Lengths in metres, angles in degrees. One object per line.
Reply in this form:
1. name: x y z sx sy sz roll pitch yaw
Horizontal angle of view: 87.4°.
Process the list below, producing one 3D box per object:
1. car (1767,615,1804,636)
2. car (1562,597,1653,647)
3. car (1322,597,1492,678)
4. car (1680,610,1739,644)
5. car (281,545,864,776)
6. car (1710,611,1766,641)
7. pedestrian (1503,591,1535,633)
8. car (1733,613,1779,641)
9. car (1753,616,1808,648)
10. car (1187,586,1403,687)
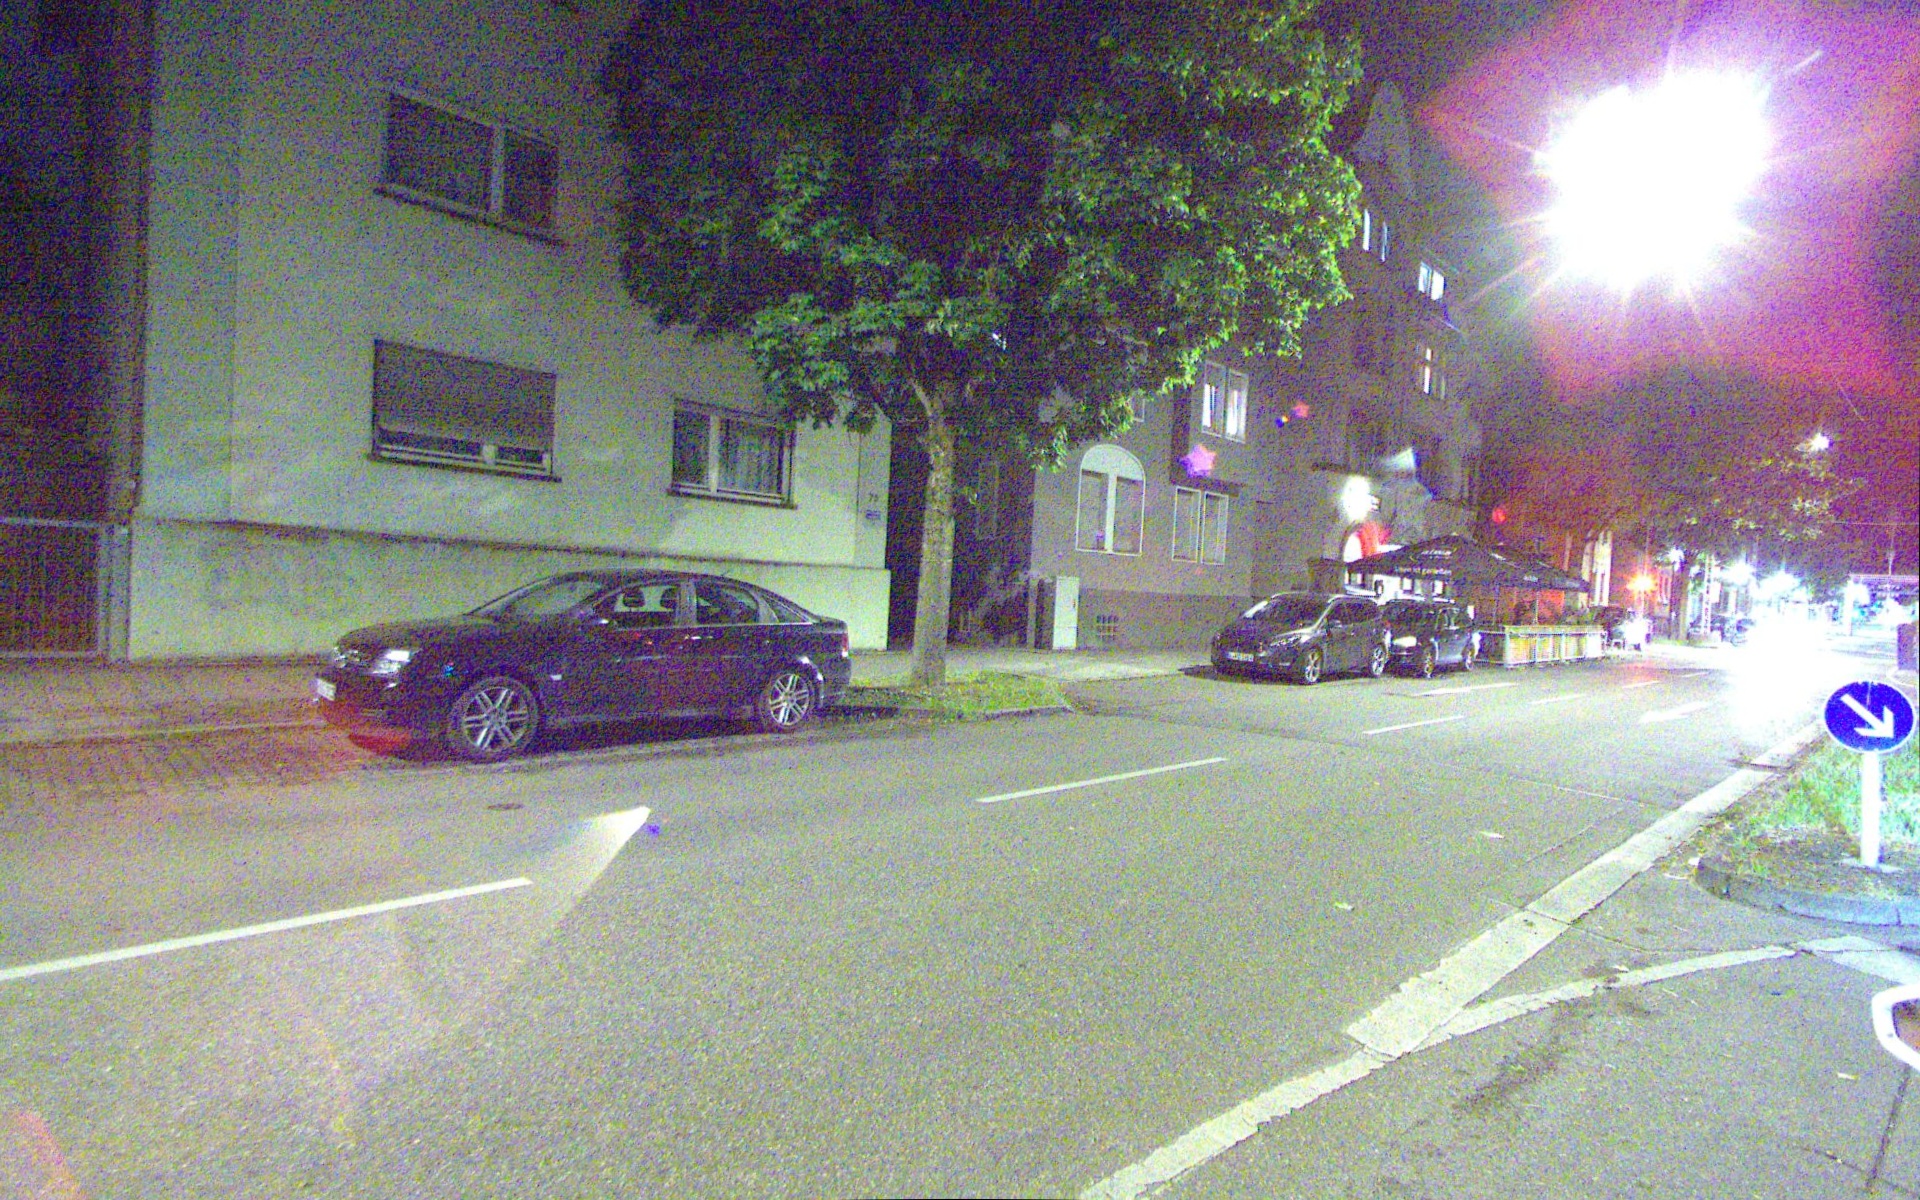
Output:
1. car: 63.226 1.913 76.912 1.765 1.434 4.102 6 4 43
2. car: 24.013 0.820 37.200 3.996 1.618 1.867 2 3 -44
3. car: 9.752 0.776 21.740 4.415 1.453 1.842 2 3 -45
4. car: 38.751 1.395 51.931 3.670 1.511 1.578 2 4 -41
5. car: -3.116 0.400 8.797 1.840 1.453 4.379 6 3 42
6. car: 44.848 1.503 57.863 4.299 1.511 1.767 1 5 -43
7. pedestrian: 23.799 0.512 42.766 1.113 1.713 0.705 1 2 -35
8. car: 49.063 1.636 61.907 1.765 1.511 3.976 8 5 43
9. car: 40.607 1.564 49.672 3.974 1.449 1.698 1 1 -45
10. car: 6.155 0.614 18.171 1.842 1.499 4.444 5 2 45
